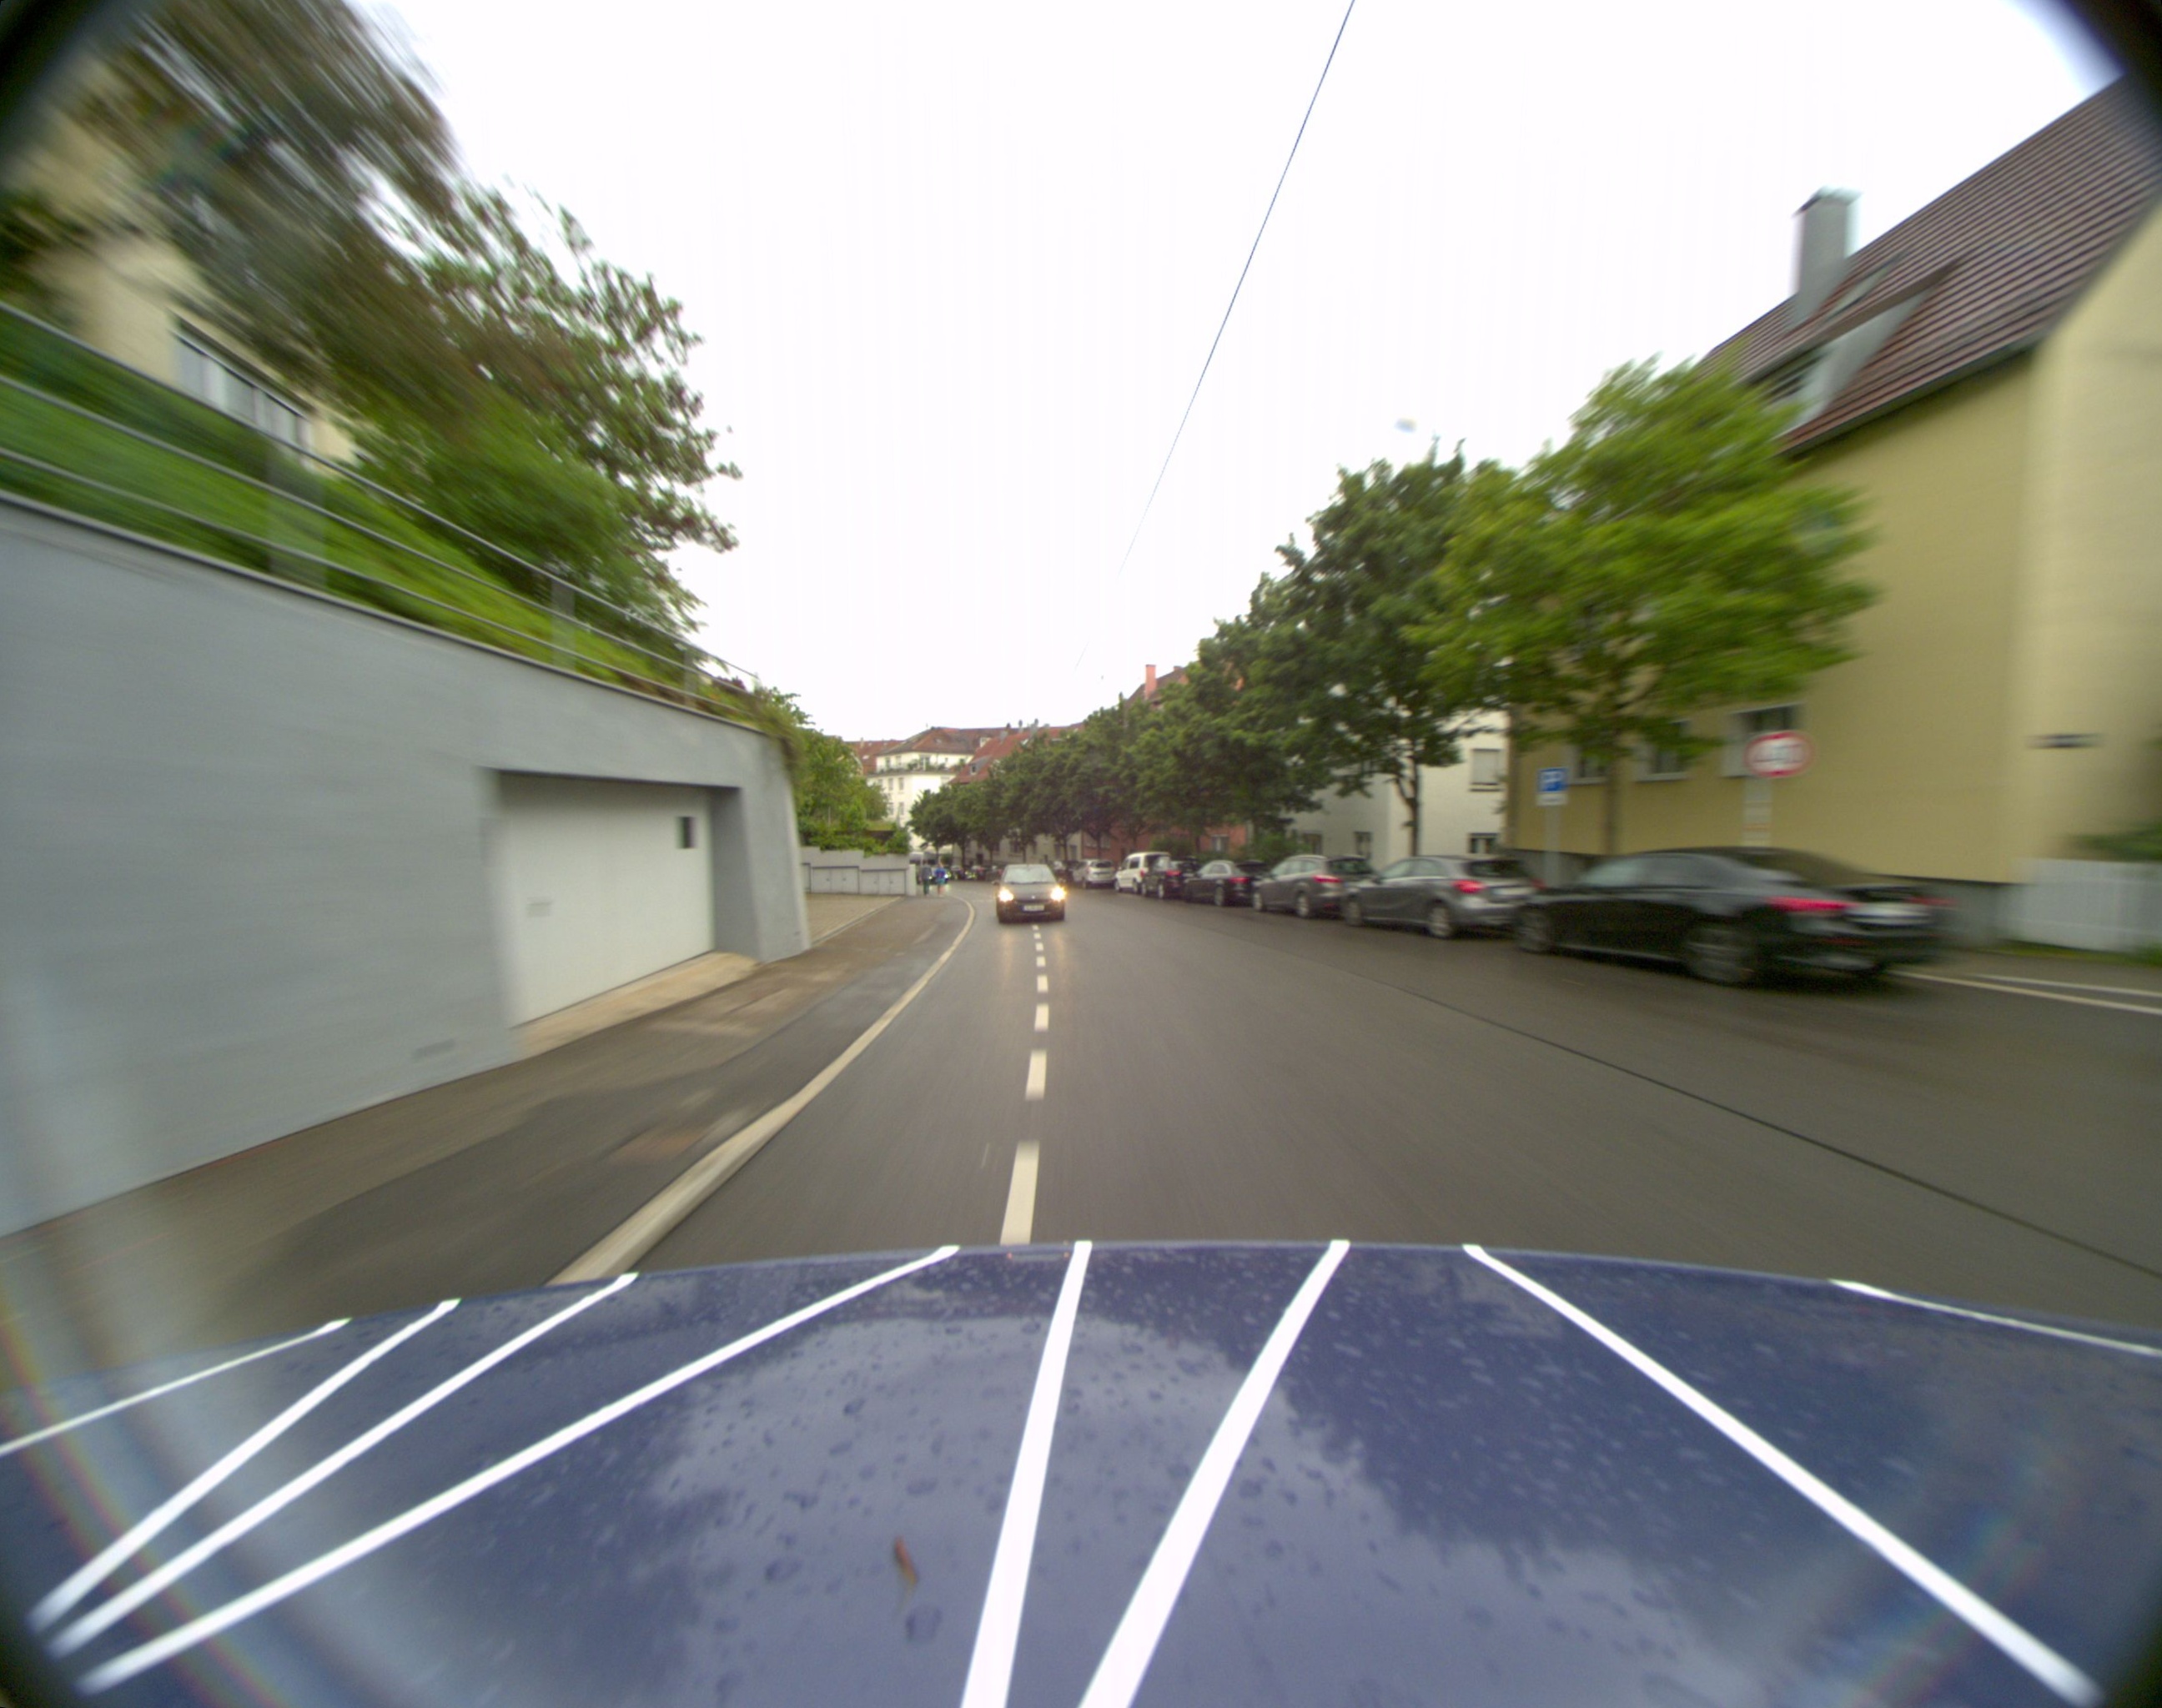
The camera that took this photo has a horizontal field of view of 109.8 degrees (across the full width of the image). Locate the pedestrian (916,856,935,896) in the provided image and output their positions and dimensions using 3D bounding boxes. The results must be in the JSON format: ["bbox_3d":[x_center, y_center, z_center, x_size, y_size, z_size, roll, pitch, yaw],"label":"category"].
[{"bbox_3d":[-7.432,1.048,36.284,0.778,1.821,1.250,2,-1,-13],"label":"pedestrian"}]

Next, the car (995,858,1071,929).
[{"bbox_3d":[-1.382,0.959,20.405,1.699,1.456,3.996,-5,2,-6],"label":"car"}]

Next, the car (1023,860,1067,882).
[{"bbox_3d":[-2.625,1.197,54.551,1.795,1.484,4.353,-2,0,-22],"label":"car"}]

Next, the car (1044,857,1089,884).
[{"bbox_3d":[-1.014,1.046,49.333,1.794,1.631,4.474,-2,0,-16],"label":"car"}]

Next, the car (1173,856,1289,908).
[{"bbox_3d":[4.701,0.847,24.597,1.861,1.489,4.735,-1,0,-13],"label":"car"}]

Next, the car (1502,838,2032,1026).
[{"bbox_3d":[7.136,0.649,8.738,1.780,1.531,4.514,-2,0,-5],"label":"car"}]

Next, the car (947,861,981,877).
[{"bbox_3d":[-11.498,1.471,74.707,1.796,1.484,4.488,-1,0,-30],"label":"car"}]

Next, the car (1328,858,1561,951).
[{"bbox_3d":[6.392,0.796,13.973,1.619,1.388,4.319,-1,0,-10],"label":"car"}]

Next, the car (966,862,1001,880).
[{"bbox_3d":[-9.033,1.519,69.950,1.795,1.484,4.635,-3,1,-25],"label":"car"}]

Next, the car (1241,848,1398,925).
[{"bbox_3d":[5.749,0.717,18.997,1.860,1.680,4.551,0,0,-10],"label":"car"}]

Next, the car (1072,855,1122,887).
[{"bbox_3d":[0.836,0.961,43.598,1.753,1.680,4.595,-2,0,-13],"label":"car"}]

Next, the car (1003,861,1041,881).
[{"bbox_3d":[-4.711,1.304,60.063,1.794,1.484,4.854,-2,0,-20],"label":"car"}]

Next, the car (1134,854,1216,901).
[{"bbox_3d":[3.560,0.858,29.671,1.860,1.658,4.583,-2,0,-10],"label":"car"}]

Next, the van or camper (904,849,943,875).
[{"bbox_3d":[-17.615,0.931,84.776,2.077,2.842,5.733,-1,0,-34],"label":"van or camper"}]

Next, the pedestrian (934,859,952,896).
[{"bbox_3d":[-6.644,1.122,36.457,0.778,1.748,1.010,1,0,-13],"label":"pedestrian"}]

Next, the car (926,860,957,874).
[{"bbox_3d":[-14.694,1.383,79.899,1.594,1.401,4.037,-2,0,-35],"label":"car"}]

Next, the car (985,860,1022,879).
[{"bbox_3d":[-6.650,1.332,65.003,1.795,1.484,4.353,-2,0,-25],"label":"car"}]

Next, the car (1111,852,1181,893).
[{"bbox_3d":[2.935,0.819,35.122,1.861,1.766,4.477,0,0,-14],"label":"car"}]
